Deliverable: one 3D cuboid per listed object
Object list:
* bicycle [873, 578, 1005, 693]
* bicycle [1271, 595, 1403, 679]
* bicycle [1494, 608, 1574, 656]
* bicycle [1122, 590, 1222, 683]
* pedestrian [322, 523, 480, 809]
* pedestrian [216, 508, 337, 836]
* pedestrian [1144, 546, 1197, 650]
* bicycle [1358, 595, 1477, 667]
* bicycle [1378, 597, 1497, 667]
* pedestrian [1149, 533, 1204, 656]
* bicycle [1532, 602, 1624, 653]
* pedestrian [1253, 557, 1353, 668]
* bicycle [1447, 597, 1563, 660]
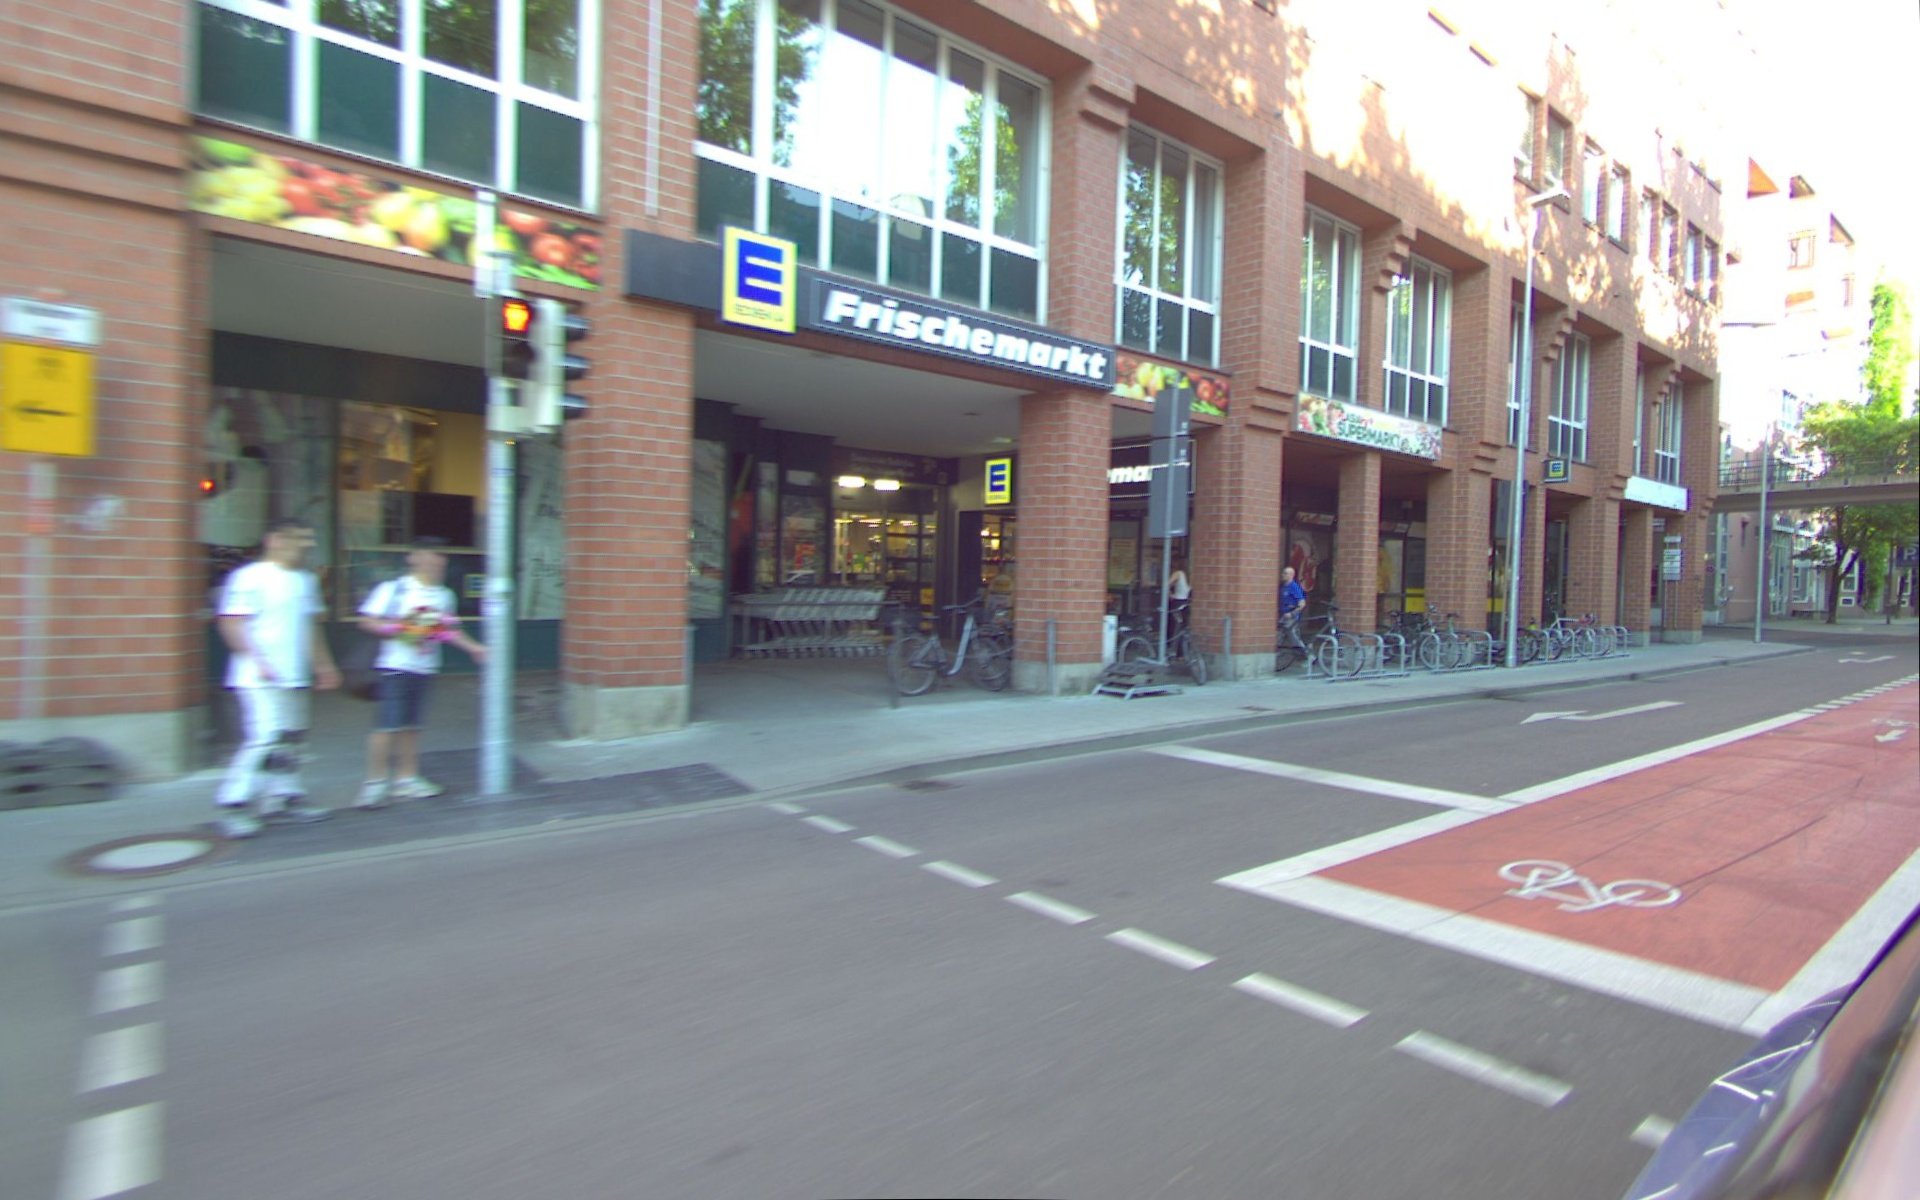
[{"bbox_3d":[-0.223,0.393,11.939,1.679,1.271,0.340,0,1,-39],"label":"bicycle"},{"bbox_3d":[5.761,0.530,15.563,0.466,1.133,1.896,0,2,-39],"label":"bicycle"},{"bbox_3d":[11.886,0.654,20.982,0.417,0.851,1.338,1,4,-37],"label":"bicycle"},{"bbox_3d":[2.916,0.474,13.816,1.648,1.198,0.340,0,1,-39],"label":"bicycle"},{"bbox_3d":[-3.623,0.395,6.591,0.621,1.746,0.633,1,1,14],"label":"pedestrian"},{"bbox_3d":[-4.027,0.393,5.959,0.531,1.815,0.477,1,1,-40],"label":"pedestrian"},{"bbox_3d":[3.774,-0.051,18.153,0.599,1.818,0.659,0,1,-44],"label":"pedestrian"},{"bbox_3d":[8.099,0.523,17.992,0.466,1.133,1.896,0,2,-39],"label":"bicycle"},{"bbox_3d":[8.661,0.549,18.432,0.540,1.133,1.896,0,2,-39],"label":"bicycle"},{"bbox_3d":[3.684,-0.102,17.199,0.607,2.038,0.650,2,1,45],"label":"pedestrian"},{"bbox_3d":[13.845,0.593,22.698,0.545,0.966,1.617,1,4,-37],"label":"bicycle"},{"bbox_3d":[5.680,0.177,16.802,0.869,1.717,1.198,0,4,-38],"label":"pedestrian"},{"bbox_3d":[10.857,0.539,20.221,0.562,1.069,1.940,0,4,-36],"label":"bicycle"}]
